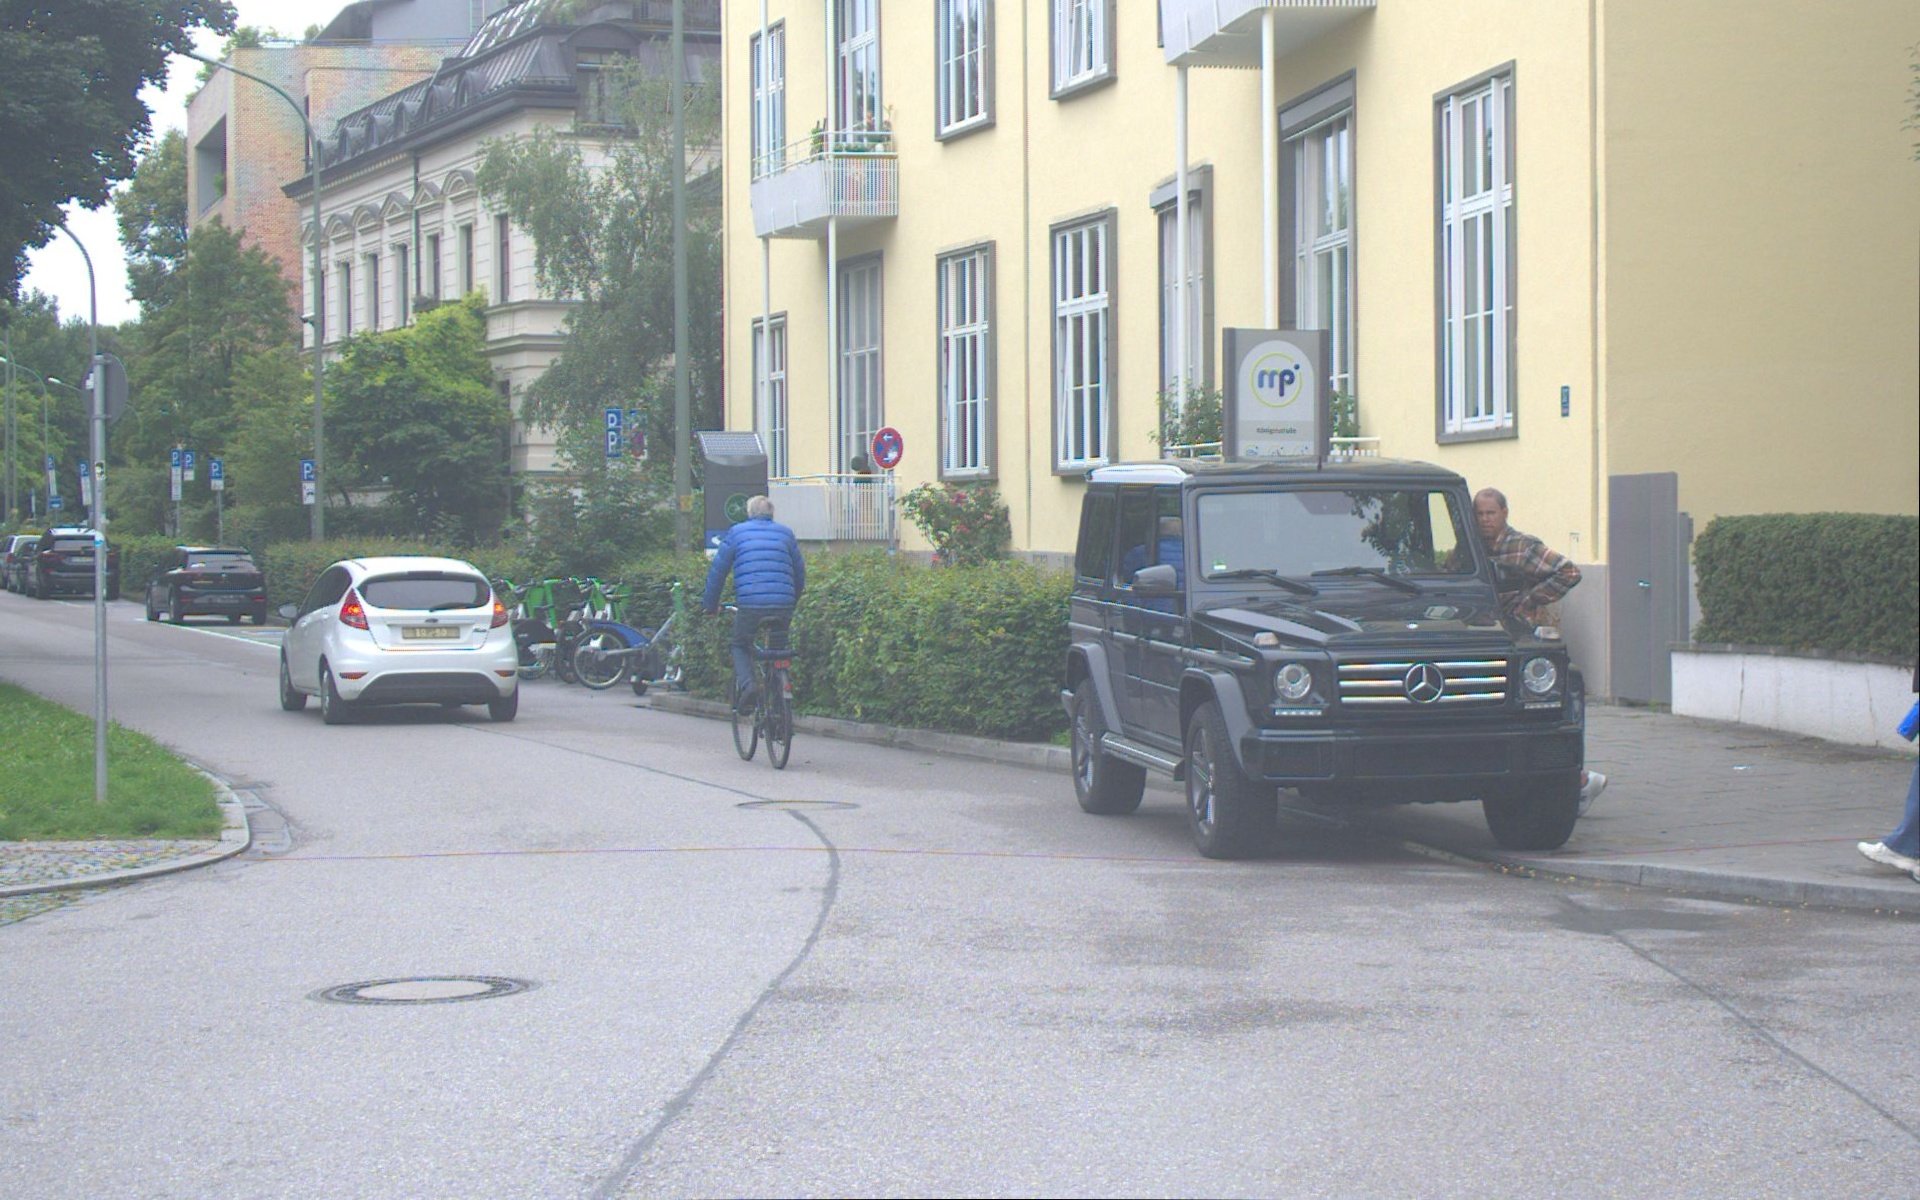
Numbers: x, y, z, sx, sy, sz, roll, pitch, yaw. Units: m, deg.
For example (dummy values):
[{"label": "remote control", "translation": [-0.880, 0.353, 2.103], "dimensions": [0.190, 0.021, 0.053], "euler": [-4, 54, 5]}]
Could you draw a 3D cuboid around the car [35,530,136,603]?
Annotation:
[{"label": "car", "translation": [-20.835, -0.816, 81.818], "dimensions": [1.792, 1.674, 4.001], "euler": [-2, 1, -22]}]

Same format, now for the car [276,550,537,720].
[{"label": "car", "translation": [-5.076, 0.264, 31.163], "dimensions": [1.747, 1.401, 3.728], "euler": [-1, 1, -18]}]

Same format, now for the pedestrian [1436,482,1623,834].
[{"label": "pedestrian", "translation": [2.931, 0.282, 17.779], "dimensions": [0.848, 1.751, 0.953], "euler": [-1, 1, 5]}]

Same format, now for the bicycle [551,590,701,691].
[{"label": "bicycle", "translation": [-3.602, 0.428, 37.094], "dimensions": [1.532, 1.011, 0.367], "euler": [-3, 2, -22]}]

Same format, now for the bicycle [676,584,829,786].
[{"label": "bicycle", "translation": [-1.441, 0.549, 23.468], "dimensions": [0.920, 1.248, 2.322], "euler": [-1, 1, -6]}]

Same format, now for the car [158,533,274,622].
[{"label": "car", "translation": [-13.659, -0.445, 63.012], "dimensions": [1.646, 1.553, 3.560], "euler": [-1, 1, -19]}]

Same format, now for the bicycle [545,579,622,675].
[{"label": "bicycle", "translation": [-4.256, 0.297, 38.935], "dimensions": [0.366, 1.011, 1.537], "euler": [-2, 2, 12]}]

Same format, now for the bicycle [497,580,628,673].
[{"label": "bicycle", "translation": [-4.622, 0.300, 40.033], "dimensions": [1.533, 1.011, 0.367], "euler": [-3, 2, -41]}]

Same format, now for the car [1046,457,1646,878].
[{"label": "car", "translation": [1.837, 0.249, 17.994], "dimensions": [1.873, 1.881, 4.620], "euler": [-1, 1, -10]}]

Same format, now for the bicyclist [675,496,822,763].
[{"label": "bicyclist", "translation": [-1.453, 0.182, 23.440], "dimensions": [0.914, 1.758, 1.215], "euler": [-1, 1, -6]}]

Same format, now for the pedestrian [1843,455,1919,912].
[{"label": "pedestrian", "translation": [4.080, 0.319, 13.816], "dimensions": [0.990, 1.803, 0.659], "euler": [-1, 1, 15]}]

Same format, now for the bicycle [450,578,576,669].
[{"label": "bicycle", "translation": [-5.318, 0.272, 40.933], "dimensions": [0.409, 1.011, 1.534], "euler": [-1, 2, 44]}]

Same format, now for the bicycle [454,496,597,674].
[{"label": "bicycle", "translation": [-5.091, -0.189, 40.380], "dimensions": [0.456, 2.006, 1.673], "euler": [0, 2, 44]}]

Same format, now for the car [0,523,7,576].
[{"label": "car", "translation": [-30.845, -1.559, 106.721], "dimensions": [1.993, 1.595, 4.255], "euler": [-1, 1, -21]}]

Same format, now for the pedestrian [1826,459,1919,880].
[{"label": "pedestrian", "translation": [4.122, 0.278, 14.539], "dimensions": [0.827, 1.740, 0.740], "euler": [-1, 1, 18]}]
